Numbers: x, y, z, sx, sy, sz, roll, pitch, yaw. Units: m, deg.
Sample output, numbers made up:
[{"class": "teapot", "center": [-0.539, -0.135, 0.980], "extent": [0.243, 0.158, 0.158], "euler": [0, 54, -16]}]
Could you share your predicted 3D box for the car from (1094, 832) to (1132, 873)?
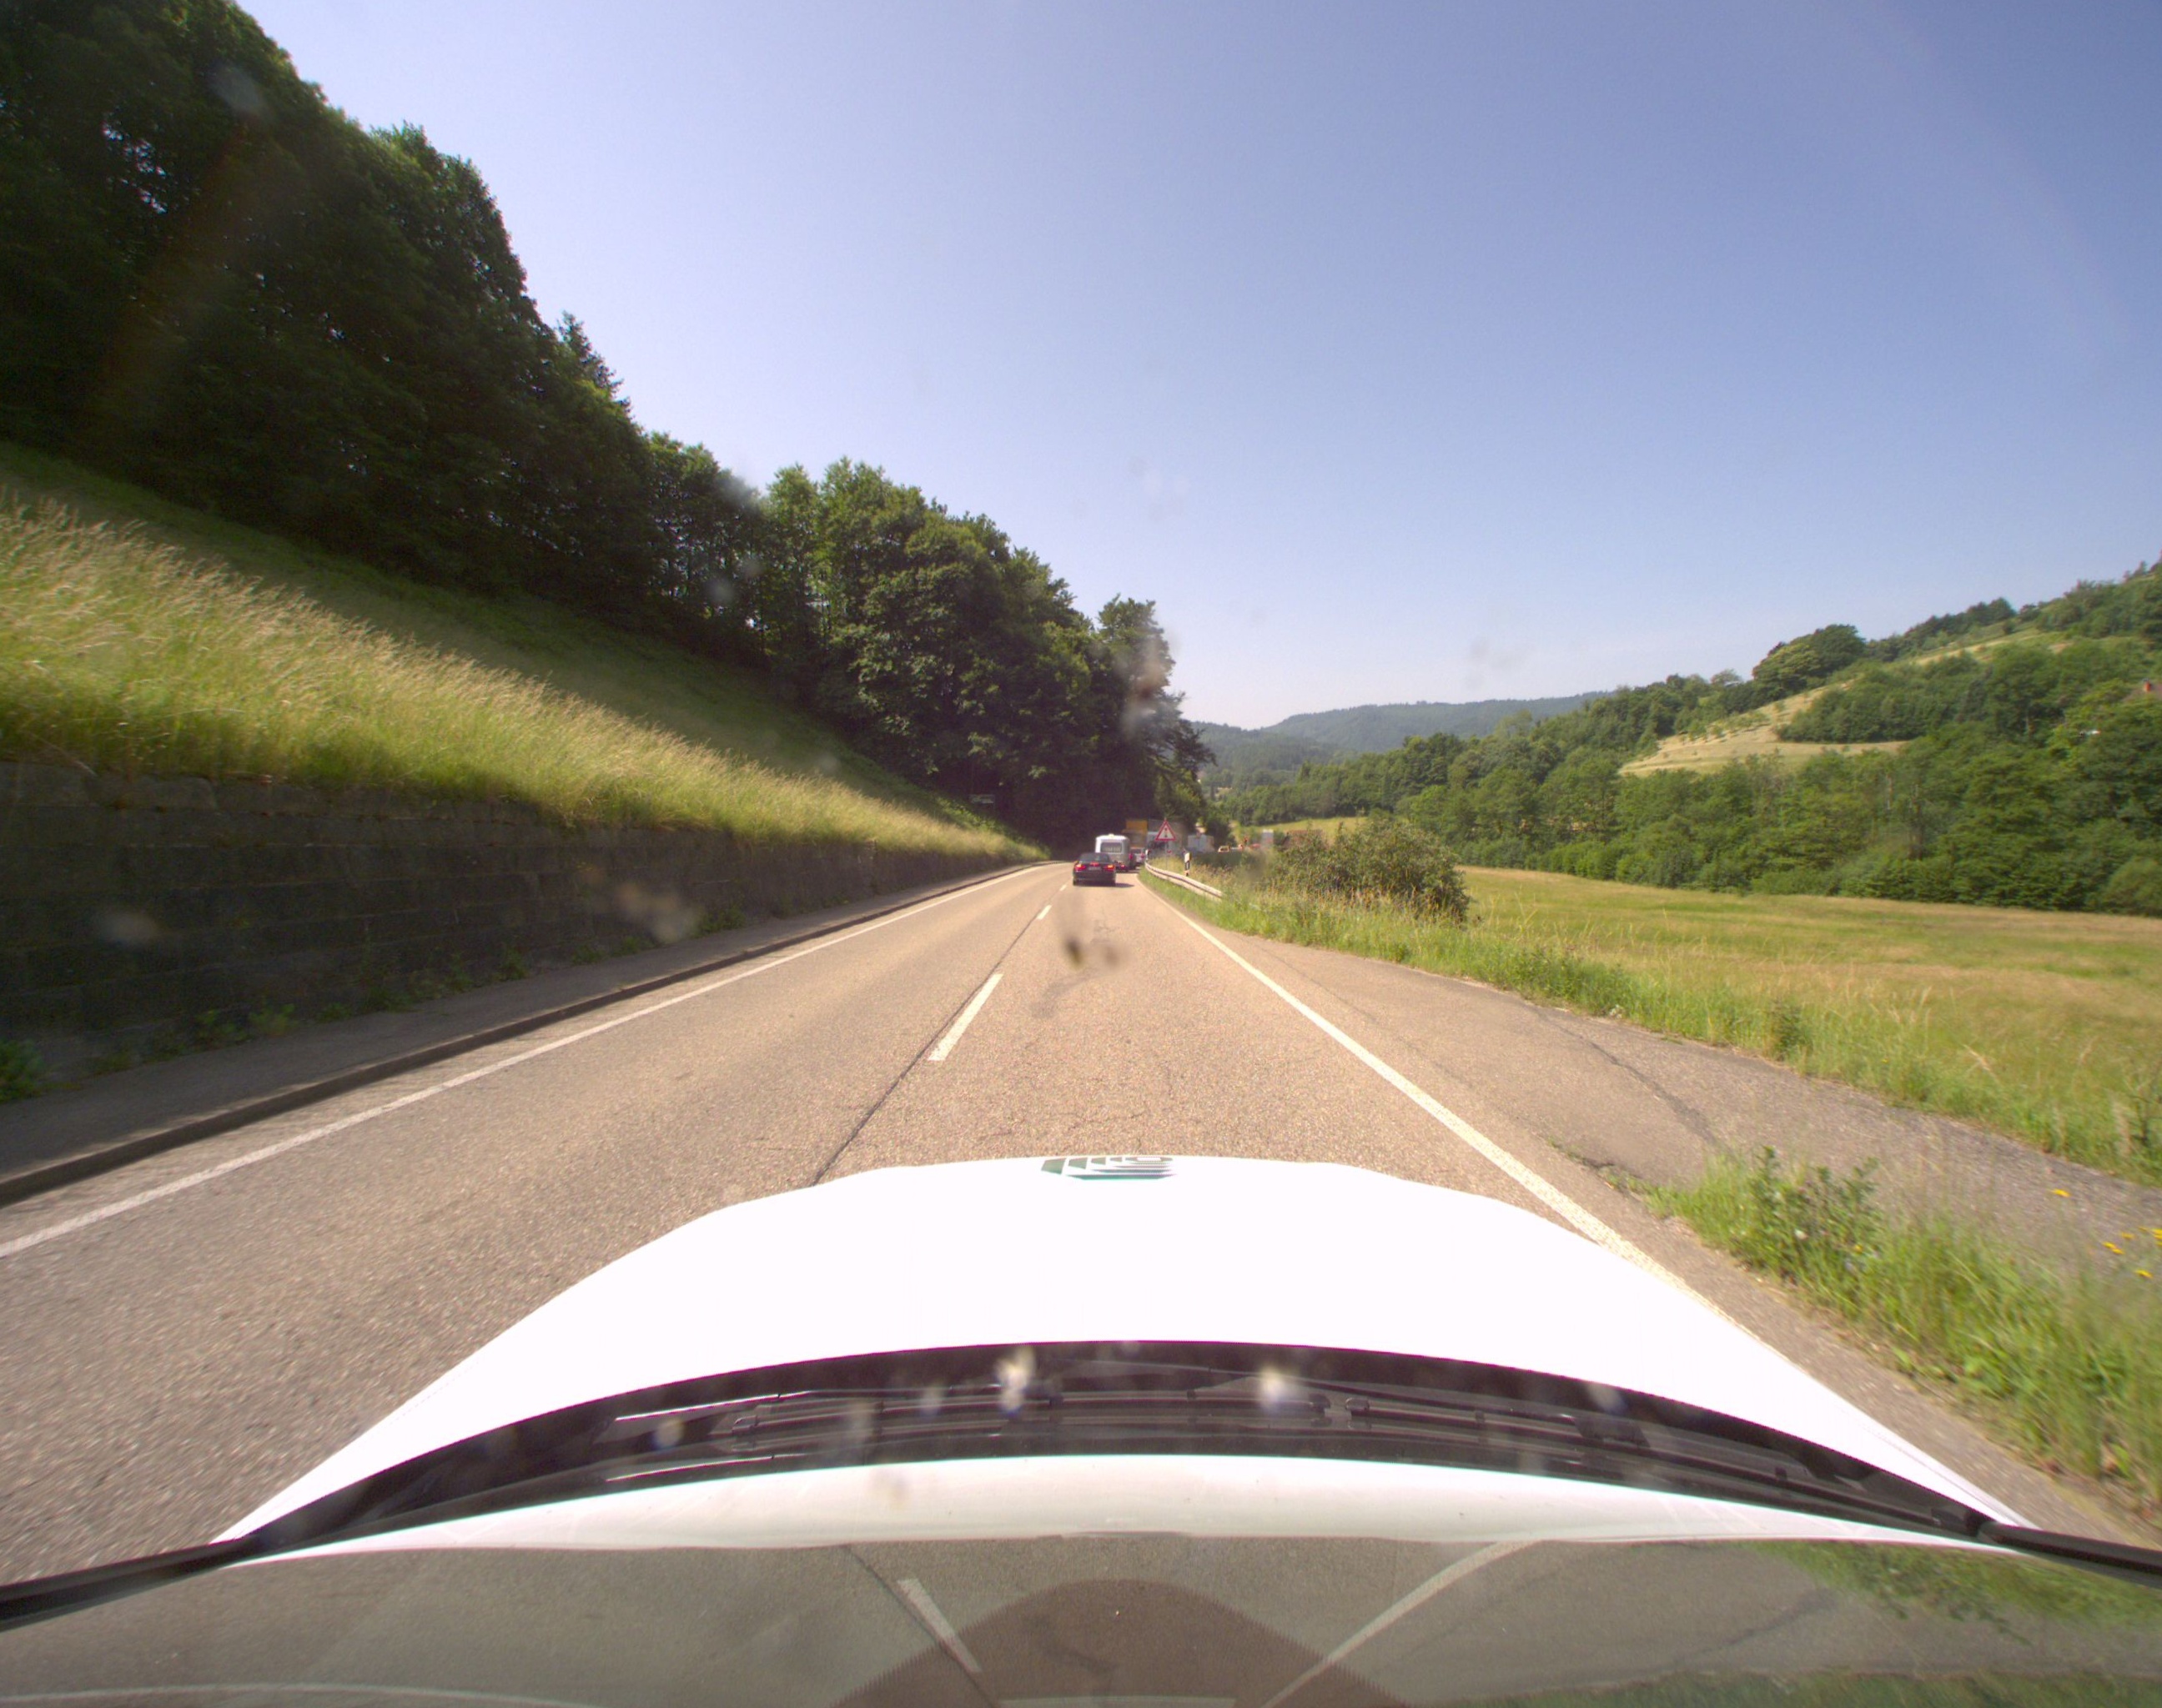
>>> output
[{"class": "car", "center": [2.039, -0.131, 50.366], "extent": [1.984, 2.352, 4.922], "euler": [1, 2, 5]}]

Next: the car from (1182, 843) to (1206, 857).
[{"class": "car", "center": [12.475, -0.473, 89.917], "extent": [1.773, 1.463, 4.020], "euler": [3, 2, 20]}]

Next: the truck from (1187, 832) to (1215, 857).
[{"class": "truck", "center": [14.265, -1.057, 96.578], "extent": [2.220, 2.804, 6.260], "euler": [2, 0, 17]}]

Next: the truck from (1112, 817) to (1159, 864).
[{"class": "truck", "center": [5.532, -1.379, 81.578], "extent": [3.164, 4.396, 6.601], "euler": [2, 2, 17]}]

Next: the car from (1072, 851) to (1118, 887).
[{"class": "car", "center": [0.587, 0.578, 33.888], "extent": [1.765, 1.335, 3.767], "euler": [1, 1, 1]}]

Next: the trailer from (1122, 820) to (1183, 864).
[{"class": "trailer", "center": [8.076, -1.331, 89.485], "extent": [3.234, 4.416, 15.386], "euler": [2, 1, 18]}]

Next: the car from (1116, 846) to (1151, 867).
[{"class": "car", "center": [4.032, 0.153, 62.482], "extent": [1.980, 1.484, 4.014], "euler": [3, 1, 13]}]

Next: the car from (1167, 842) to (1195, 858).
[{"class": "car", "center": [10.226, -0.463, 83.120], "extent": [1.978, 1.463, 4.019], "euler": [3, 2, 19]}]

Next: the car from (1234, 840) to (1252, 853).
[{"class": "car", "center": [25.340, -1.151, 127.560], "extent": [1.977, 1.925, 4.022], "euler": [3, 2, 22]}]

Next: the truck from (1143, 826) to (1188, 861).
[{"class": "truck", "center": [7.844, -0.970, 74.988], "extent": [2.770, 2.997, 6.898], "euler": [3, 2, 16]}]
